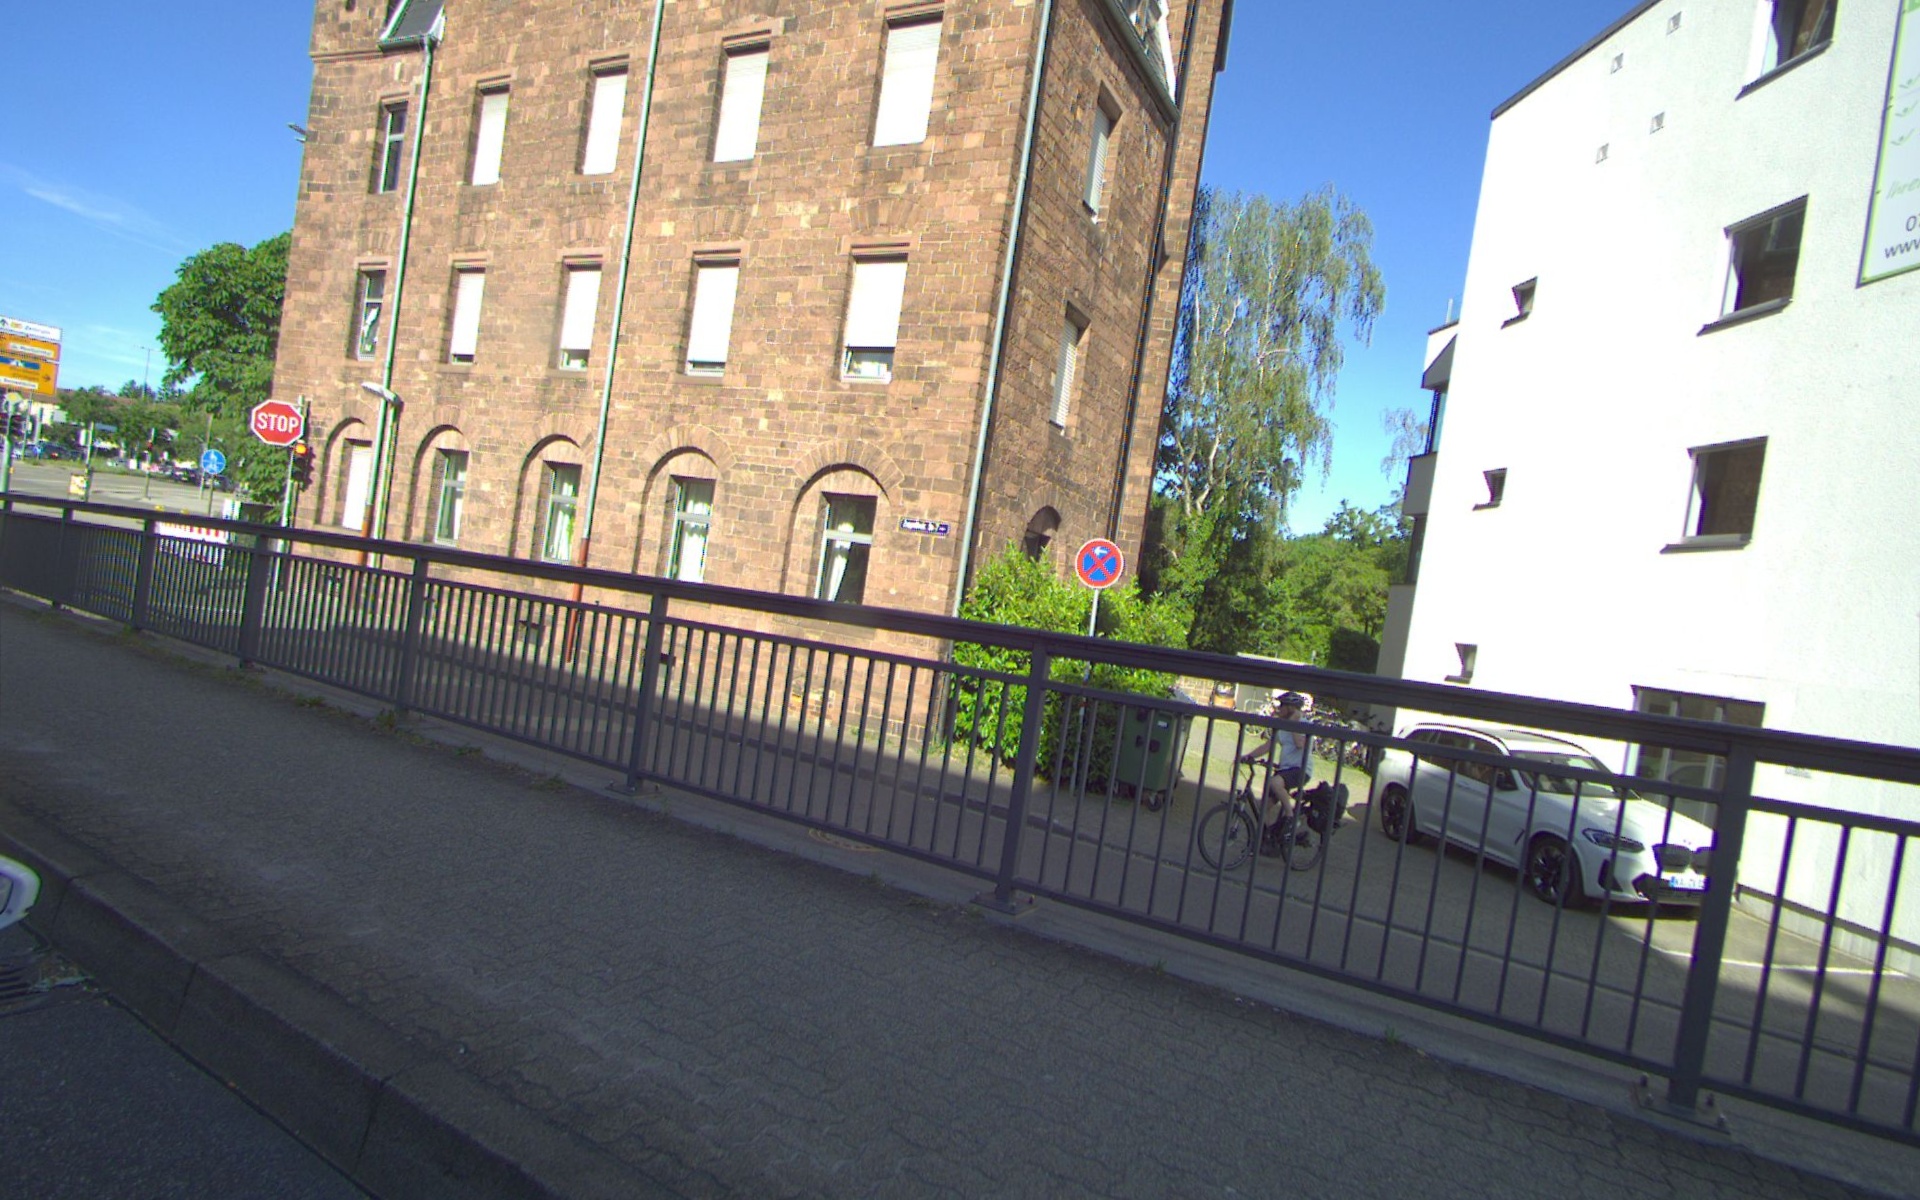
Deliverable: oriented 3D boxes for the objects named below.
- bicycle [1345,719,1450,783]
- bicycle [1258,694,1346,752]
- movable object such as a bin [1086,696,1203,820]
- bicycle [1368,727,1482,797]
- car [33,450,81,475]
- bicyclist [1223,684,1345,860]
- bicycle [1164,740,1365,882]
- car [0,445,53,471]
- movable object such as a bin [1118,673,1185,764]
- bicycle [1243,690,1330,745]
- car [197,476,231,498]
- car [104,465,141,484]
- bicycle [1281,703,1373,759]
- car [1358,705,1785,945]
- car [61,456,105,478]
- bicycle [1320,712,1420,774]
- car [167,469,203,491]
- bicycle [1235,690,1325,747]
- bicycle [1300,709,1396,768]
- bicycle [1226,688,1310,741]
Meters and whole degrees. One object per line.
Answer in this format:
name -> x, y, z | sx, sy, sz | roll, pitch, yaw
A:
bicycle -> 9.436, 3.258, 21.738 | 1.889, 1.065, 0.664 | 8, 1, -6
bicycle -> 8.745, 3.133, 25.730 | 1.889, 1.174, 0.664 | 8, 1, -6
movable object such as a bin -> 2.353, 1.971, 12.758 | 1.011, 1.307, 1.005 | 10, 0, 29
bicycle -> 9.282, 3.234, 20.107 | 1.889, 1.065, 0.664 | 8, 1, -6
car -> -81.605, -12.418, 91.003 | 1.860, 1.598, 3.977 | 8, 1, -22
bicyclist -> 3.307, 1.749, 10.307 | 0.688, 1.627, 0.684 | 9, 0, -23
bicycle -> 3.106, 2.153, 10.251 | 1.816, 1.154, 0.686 | 10, -1, -24
car -> -79.152, -12.034, 85.318 | 1.860, 1.598, 3.977 | 8, 1, -22
movable object such as a bin -> 3.763, 2.290, 19.707 | 1.009, 1.539, 1.007 | 10, 0, 13
bicycle -> 8.973, 3.238, 27.697 | 2.075, 1.174, 0.664 | 8, 1, -9
car -> -69.710, -10.532, 94.010 | 1.723, 1.515, 3.975 | 7, -1, -26
car -> -92.904, -13.901, 111.661 | 1.860, 1.598, 3.977 | 8, 1, -22
bicycle -> 8.954, 3.193, 24.564 | 1.889, 1.065, 0.664 | 8, 1, -6
car -> 7.124, 2.538, 12.454 | 1.814, 1.707, 4.521 | 8, 0, -10
car -> -84.783, -12.842, 97.339 | 1.860, 1.598, 3.977 | 8, 1, -22
bicycle -> 9.226, 3.211, 22.650 | 1.889, 1.065, 0.664 | 8, 1, -6
car -> -76.434, -11.806, 99.265 | 1.869, 1.565, 3.975 | 8, -2, -27
bicycle -> 8.478, 3.132, 26.661 | 2.075, 1.174, 0.664 | 8, 1, -9
bicycle -> 9.065, 3.228, 23.537 | 1.889, 1.065, 0.664 | 8, 1, -6
bicycle -> 8.724, 3.237, 28.548 | 2.075, 1.174, 0.664 | 8, 1, -9
